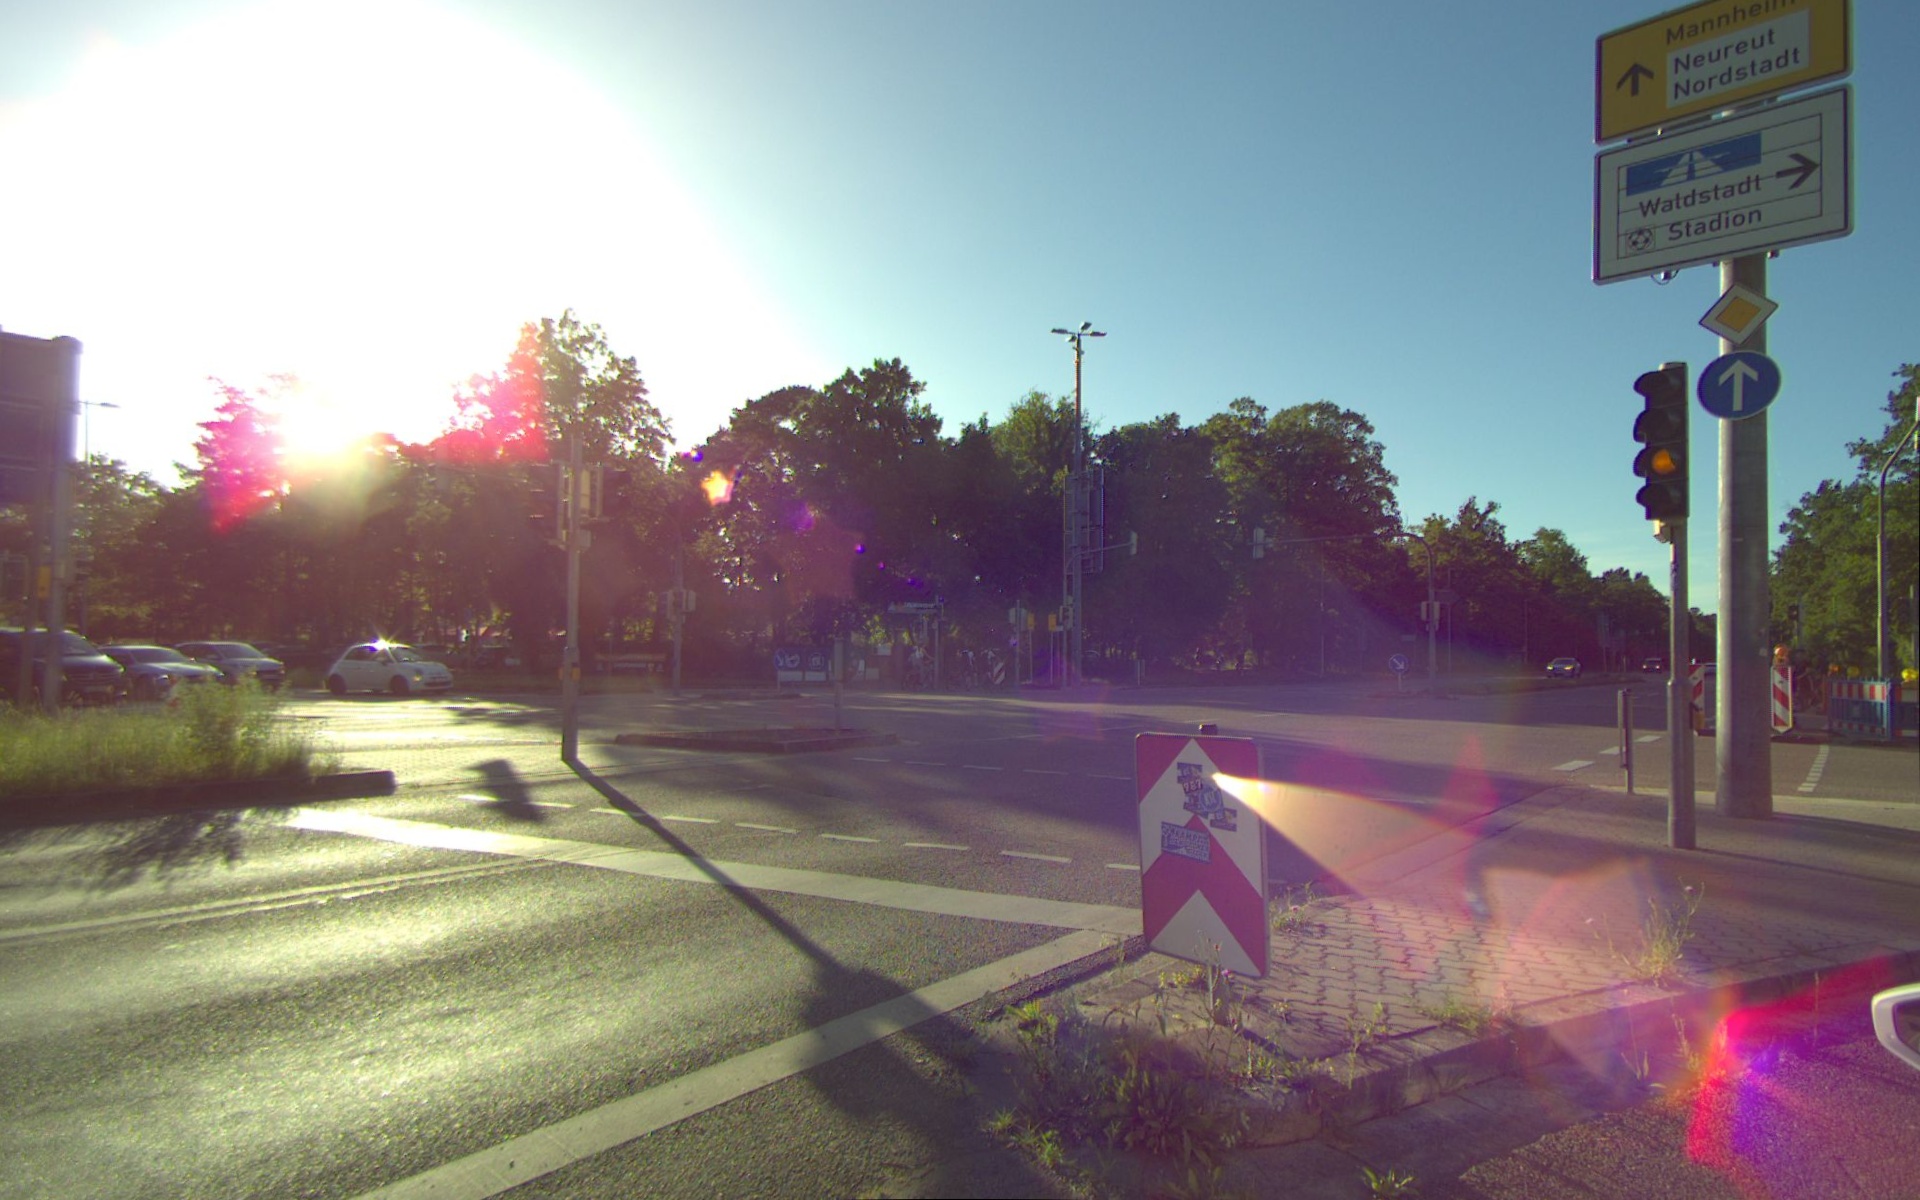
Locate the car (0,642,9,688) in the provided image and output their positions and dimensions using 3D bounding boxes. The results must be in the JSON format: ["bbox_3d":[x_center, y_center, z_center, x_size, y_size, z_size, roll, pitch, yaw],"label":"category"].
[{"bbox_3d":[-31.102,1.935,30.316,3.724,1.407,1.855,0,-3,17],"label":"car"}]

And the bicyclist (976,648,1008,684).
[{"bbox_3d":[1.210,2.514,38.250,0.984,1.359,0.708,3,-3,-44],"label":"bicyclist"}]

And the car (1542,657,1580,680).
[{"bbox_3d":[48.679,5.521,81.344,1.970,1.812,4.229,-1,-4,40],"label":"car"}]

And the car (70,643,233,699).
[{"bbox_3d":[-22.195,1.926,27.588,3.724,1.407,1.649,0,-3,17],"label":"car"}]

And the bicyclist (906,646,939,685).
[{"bbox_3d":[-1.396,2.424,37.291,0.984,1.408,0.703,3,-3,-44],"label":"bicyclist"}]

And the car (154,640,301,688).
[{"bbox_3d":[-23.090,1.992,31.690,3.724,1.407,1.855,0,-3,17],"label":"car"}]

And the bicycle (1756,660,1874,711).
[{"bbox_3d":[26.194,2.611,30.820,2.586,1.401,0.969,1,-2,11],"label":"bicycle"}]

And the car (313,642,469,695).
[{"bbox_3d":[-16.697,1.987,29.550,3.724,1.407,1.930,0,-3,17],"label":"car"}]

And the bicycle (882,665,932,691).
[{"bbox_3d":[-1.978,2.928,37.968,1.898,0.926,0.708,3,-3,-45],"label":"bicycle"}]

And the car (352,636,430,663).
[{"bbox_3d":[-36.326,3.157,64.243,1.781,1.620,3.965,0,-3,29],"label":"car"}]

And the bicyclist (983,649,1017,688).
[{"bbox_3d":[1.435,2.444,35.780,0.984,1.356,0.708,3,-3,-44],"label":"bicyclist"}]

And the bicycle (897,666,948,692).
[{"bbox_3d":[-1.377,2.913,37.292,1.898,0.926,0.708,4,-4,-45],"label":"bicycle"}]

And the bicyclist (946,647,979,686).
[{"bbox_3d":[0.088,2.448,37.072,0.984,1.373,0.708,3,-3,-44],"label":"bicyclist"}]

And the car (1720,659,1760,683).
[{"bbox_3d":[48.510,4.410,62.469,1.916,1.433,3.984,-1,-4,38],"label":"car"}]

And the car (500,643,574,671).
[{"bbox_3d":[-25.879,3.480,61.655,1.778,1.620,4.197,0,-3,20],"label":"car"}]

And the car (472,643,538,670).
[{"bbox_3d":[-28.271,3.519,62.459,1.778,1.620,3.503,0,-3,20],"label":"car"}]

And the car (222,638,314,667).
[{"bbox_3d":[-40.314,3.064,58.604,1.907,1.640,3.997,0,-3,26],"label":"car"}]

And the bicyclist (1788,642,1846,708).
[{"bbox_3d":[26.272,2.280,30.823,0.995,1.955,0.969,1,-1,11],"label":"bicyclist"}]

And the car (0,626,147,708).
[{"bbox_3d":[-22.607,1.579,24.482,4.835,1.853,1.929,0,-3,17],"label":"car"}]

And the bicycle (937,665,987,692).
[{"bbox_3d":[0.083,2.888,37.058,1.898,0.926,0.708,4,-4,-45],"label":"bicycle"}]

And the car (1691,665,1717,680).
[{"bbox_3d":[78.538,7.619,105.970,1.843,1.463,3.979,0,-3,42],"label":"car"}]

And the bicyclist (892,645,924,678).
[{"bbox_3d":[-1.970,2.329,37.993,0.984,1.208,0.708,3,-3,-44],"label":"bicyclist"}]

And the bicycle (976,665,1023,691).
[{"bbox_3d":[1.527,2.981,38.553,1.898,0.926,0.708,4,-4,-45],"label":"bicycle"}]

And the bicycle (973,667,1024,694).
[{"bbox_3d":[1.385,2.840,35.725,1.898,0.926,0.708,4,-4,-45],"label":"bicycle"}]

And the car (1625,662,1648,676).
[{"bbox_3d":[85.909,8.802,127.511,1.970,1.676,4.229,-1,-4,40],"label":"car"}]

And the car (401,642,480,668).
[{"bbox_3d":[-32.933,3.491,63.756,1.781,1.620,4.144,0,-3,29],"label":"car"}]
